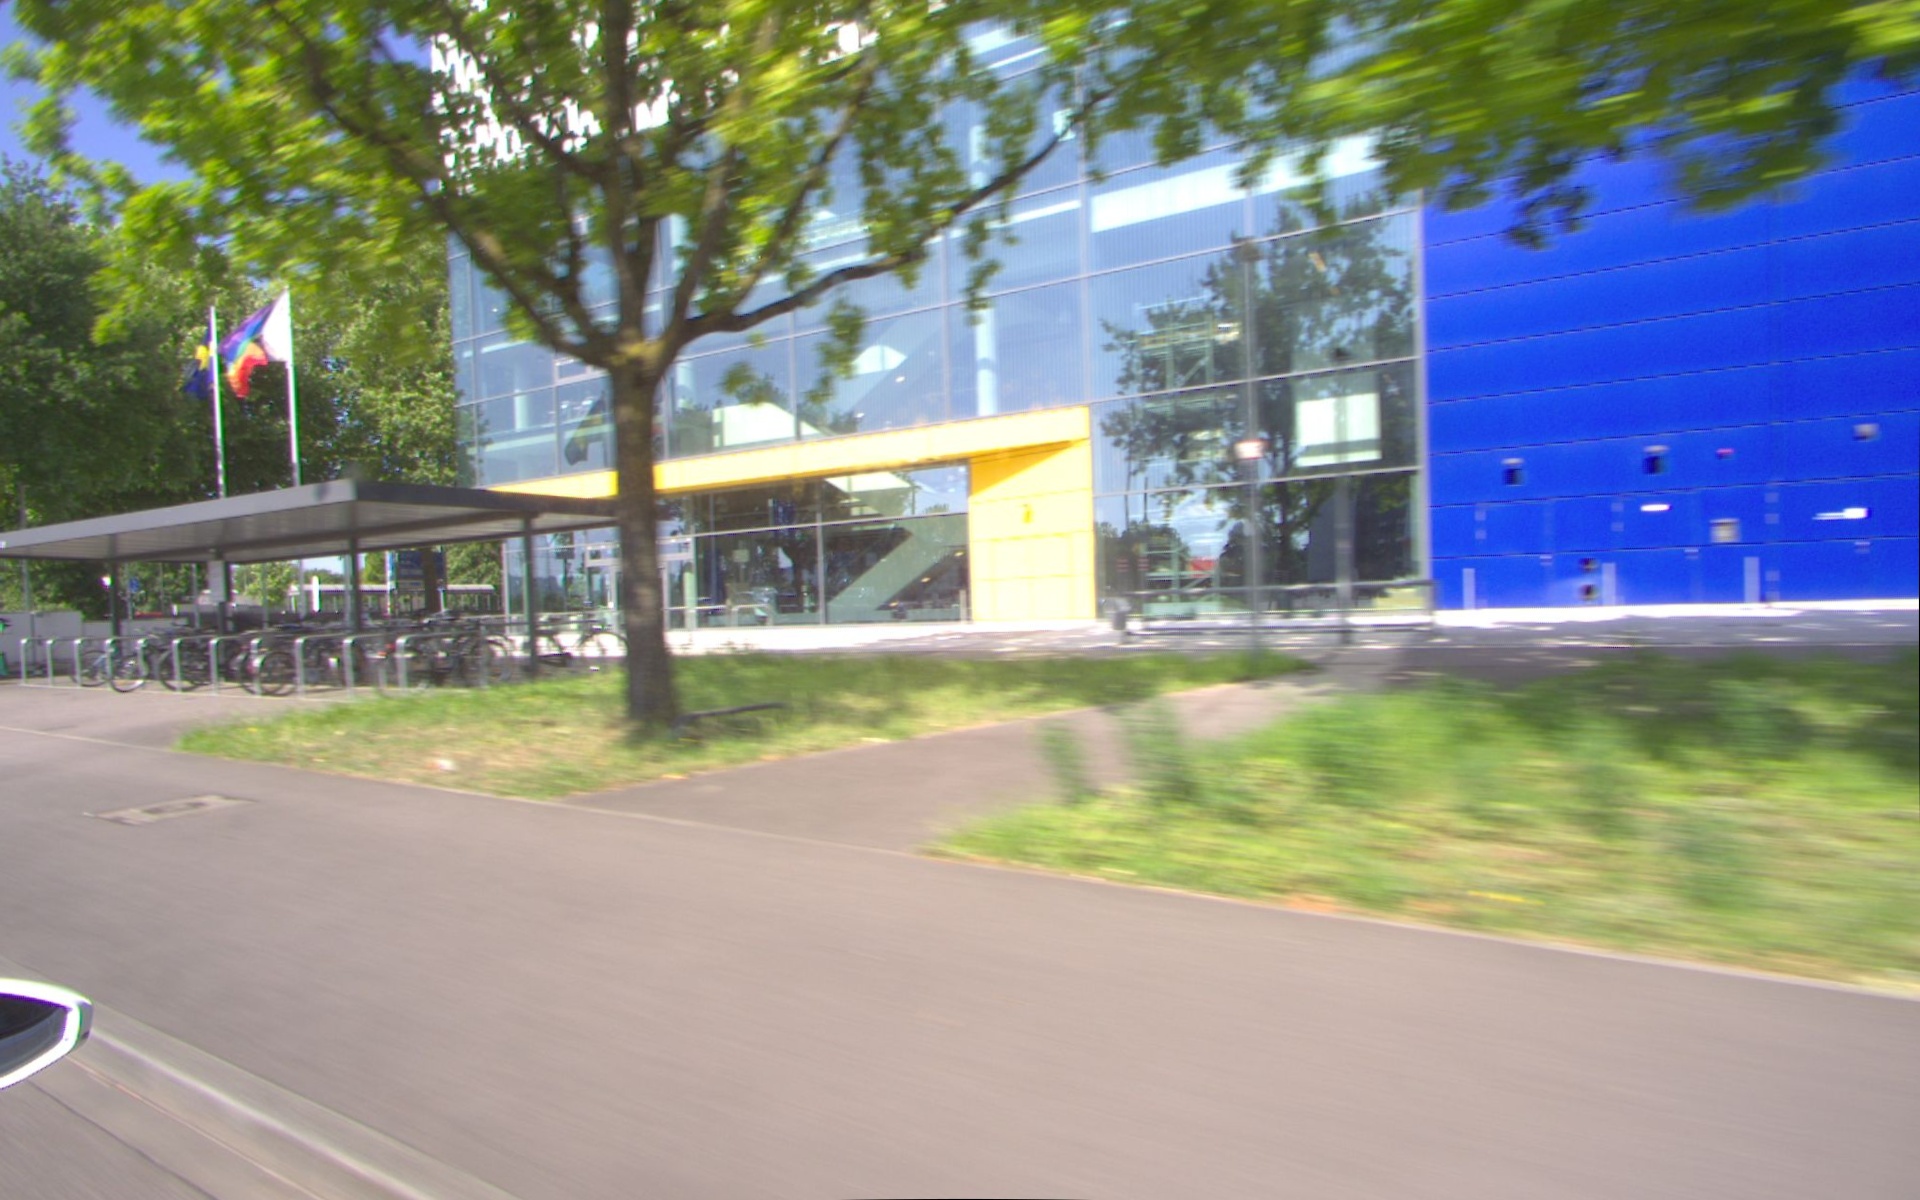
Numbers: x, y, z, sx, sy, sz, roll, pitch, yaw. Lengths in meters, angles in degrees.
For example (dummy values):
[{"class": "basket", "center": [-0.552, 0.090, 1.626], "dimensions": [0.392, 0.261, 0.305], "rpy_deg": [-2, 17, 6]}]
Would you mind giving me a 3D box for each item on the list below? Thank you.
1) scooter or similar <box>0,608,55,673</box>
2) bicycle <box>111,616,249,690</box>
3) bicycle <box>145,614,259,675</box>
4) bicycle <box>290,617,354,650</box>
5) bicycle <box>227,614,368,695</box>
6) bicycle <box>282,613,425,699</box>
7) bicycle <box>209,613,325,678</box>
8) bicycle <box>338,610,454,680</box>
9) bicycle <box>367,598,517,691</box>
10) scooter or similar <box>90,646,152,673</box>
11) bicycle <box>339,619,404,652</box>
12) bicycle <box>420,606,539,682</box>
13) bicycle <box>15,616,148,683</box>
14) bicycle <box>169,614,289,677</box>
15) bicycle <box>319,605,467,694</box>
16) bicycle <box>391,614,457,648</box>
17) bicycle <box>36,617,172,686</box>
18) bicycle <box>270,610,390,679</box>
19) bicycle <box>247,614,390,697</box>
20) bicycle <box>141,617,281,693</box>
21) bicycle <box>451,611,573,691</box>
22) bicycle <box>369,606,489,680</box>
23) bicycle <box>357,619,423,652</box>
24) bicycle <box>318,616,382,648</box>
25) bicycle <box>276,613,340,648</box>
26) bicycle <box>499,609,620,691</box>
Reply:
[{"class": "scooter or similar", "center": [-19.148, 0.821, 20.529], "dimensions": [0.279, 1.282, 0.775], "rpy_deg": [0, 2, 28]}, {"class": "bicycle", "center": [-13.013, 0.856, 16.760], "dimensions": [0.445, 1.111, 1.755], "rpy_deg": [0, 1, 31]}, {"class": "bicycle", "center": [-15.086, 0.853, 19.975], "dimensions": [0.445, 1.111, 1.755], "rpy_deg": [0, 1, 31]}, {"class": "bicycle", "center": [-18.847, 0.974, 29.611], "dimensions": [0.427, 0.922, 1.558], "rpy_deg": [0, 1, 33]}, {"class": "bicycle", "center": [-10.063, 0.802, 15.273], "dimensions": [0.445, 1.111, 1.755], "rpy_deg": [0, 1, 31]}, {"class": "bicycle", "center": [-8.746, 0.777, 14.516], "dimensions": [0.445, 1.111, 1.755], "rpy_deg": [0, 1, 31]}, {"class": "bicycle", "center": [-13.048, 0.828, 18.906], "dimensions": [0.445, 1.111, 1.755], "rpy_deg": [0, 1, 31]}, {"class": "bicycle", "center": [-9.804, 0.755, 17.468], "dimensions": [0.445, 1.111, 1.755], "rpy_deg": [0, 1, 31]}, {"class": "bicycle", "center": [-6.802, 0.547, 13.234], "dimensions": [0.445, 1.111, 1.754], "rpy_deg": [0, 1, 31]}, {"class": "scooter or similar", "center": [-16.991, 1.191, 20.306], "dimensions": [0.908, 0.457, 0.954], "rpy_deg": [-3, 1, -39]}, {"class": "bicycle", "center": [-16.604, 0.984, 28.293], "dimensions": [0.427, 0.854, 1.559], "rpy_deg": [0, 1, 30]}, {"class": "bicycle", "center": [-7.691, 0.680, 16.114], "dimensions": [0.445, 1.111, 1.755], "rpy_deg": [0, 1, 31]}, {"class": "bicycle", "center": [-16.016, 0.885, 18.307], "dimensions": [0.445, 1.111, 1.755], "rpy_deg": [0, 1, 31]}, {"class": "bicycle", "center": [-14.134, 0.848, 19.427], "dimensions": [0.445, 1.111, 1.825], "rpy_deg": [0, 1, 31]}, {"class": "bicycle", "center": [-7.796, 0.647, 13.848], "dimensions": [0.456, 1.111, 1.755], "rpy_deg": [0, 1, 31]}, {"class": "bicycle", "center": [-14.456, 0.829, 27.033], "dimensions": [0.427, 0.854, 1.558], "rpy_deg": [0, 1, 33]}, {"class": "bicycle", "center": [-15.172, 0.893, 17.798], "dimensions": [0.445, 1.111, 1.755], "rpy_deg": [0, 1, 31]}, {"class": "bicycle", "center": [-11.121, 0.755, 17.733], "dimensions": [0.445, 1.111, 1.755], "rpy_deg": [0, 1, 31]}, {"class": "bicycle", "center": [-9.541, 0.796, 14.970], "dimensions": [0.445, 1.111, 1.755], "rpy_deg": [0, 1, 31]}, {"class": "bicycle", "center": [-12.047, 0.856, 16.166], "dimensions": [0.445, 1.111, 1.755], "rpy_deg": [0, 1, 31]}, {"class": "bicycle", "center": [-6.866, 0.756, 15.419], "dimensions": [0.445, 1.111, 1.755], "rpy_deg": [0, 1, 31]}, {"class": "bicycle", "center": [-8.736, 0.679, 16.536], "dimensions": [0.445, 1.111, 1.755], "rpy_deg": [0, 1, 31]}, {"class": "bicycle", "center": [-15.802, 0.983, 27.776], "dimensions": [0.427, 0.854, 1.558], "rpy_deg": [0, 1, 33]}, {"class": "bicycle", "center": [-17.610, 0.906, 28.942], "dimensions": [0.427, 0.854, 1.558], "rpy_deg": [0, 1, 33]}, {"class": "bicycle", "center": [-19.600, 0.905, 30.119], "dimensions": [0.427, 1.008, 1.558], "rpy_deg": [0, 1, 33]}, {"class": "bicycle", "center": [-5.934, 0.714, 14.935], "dimensions": [0.445, 1.111, 1.755], "rpy_deg": [0, 1, 31]}]
